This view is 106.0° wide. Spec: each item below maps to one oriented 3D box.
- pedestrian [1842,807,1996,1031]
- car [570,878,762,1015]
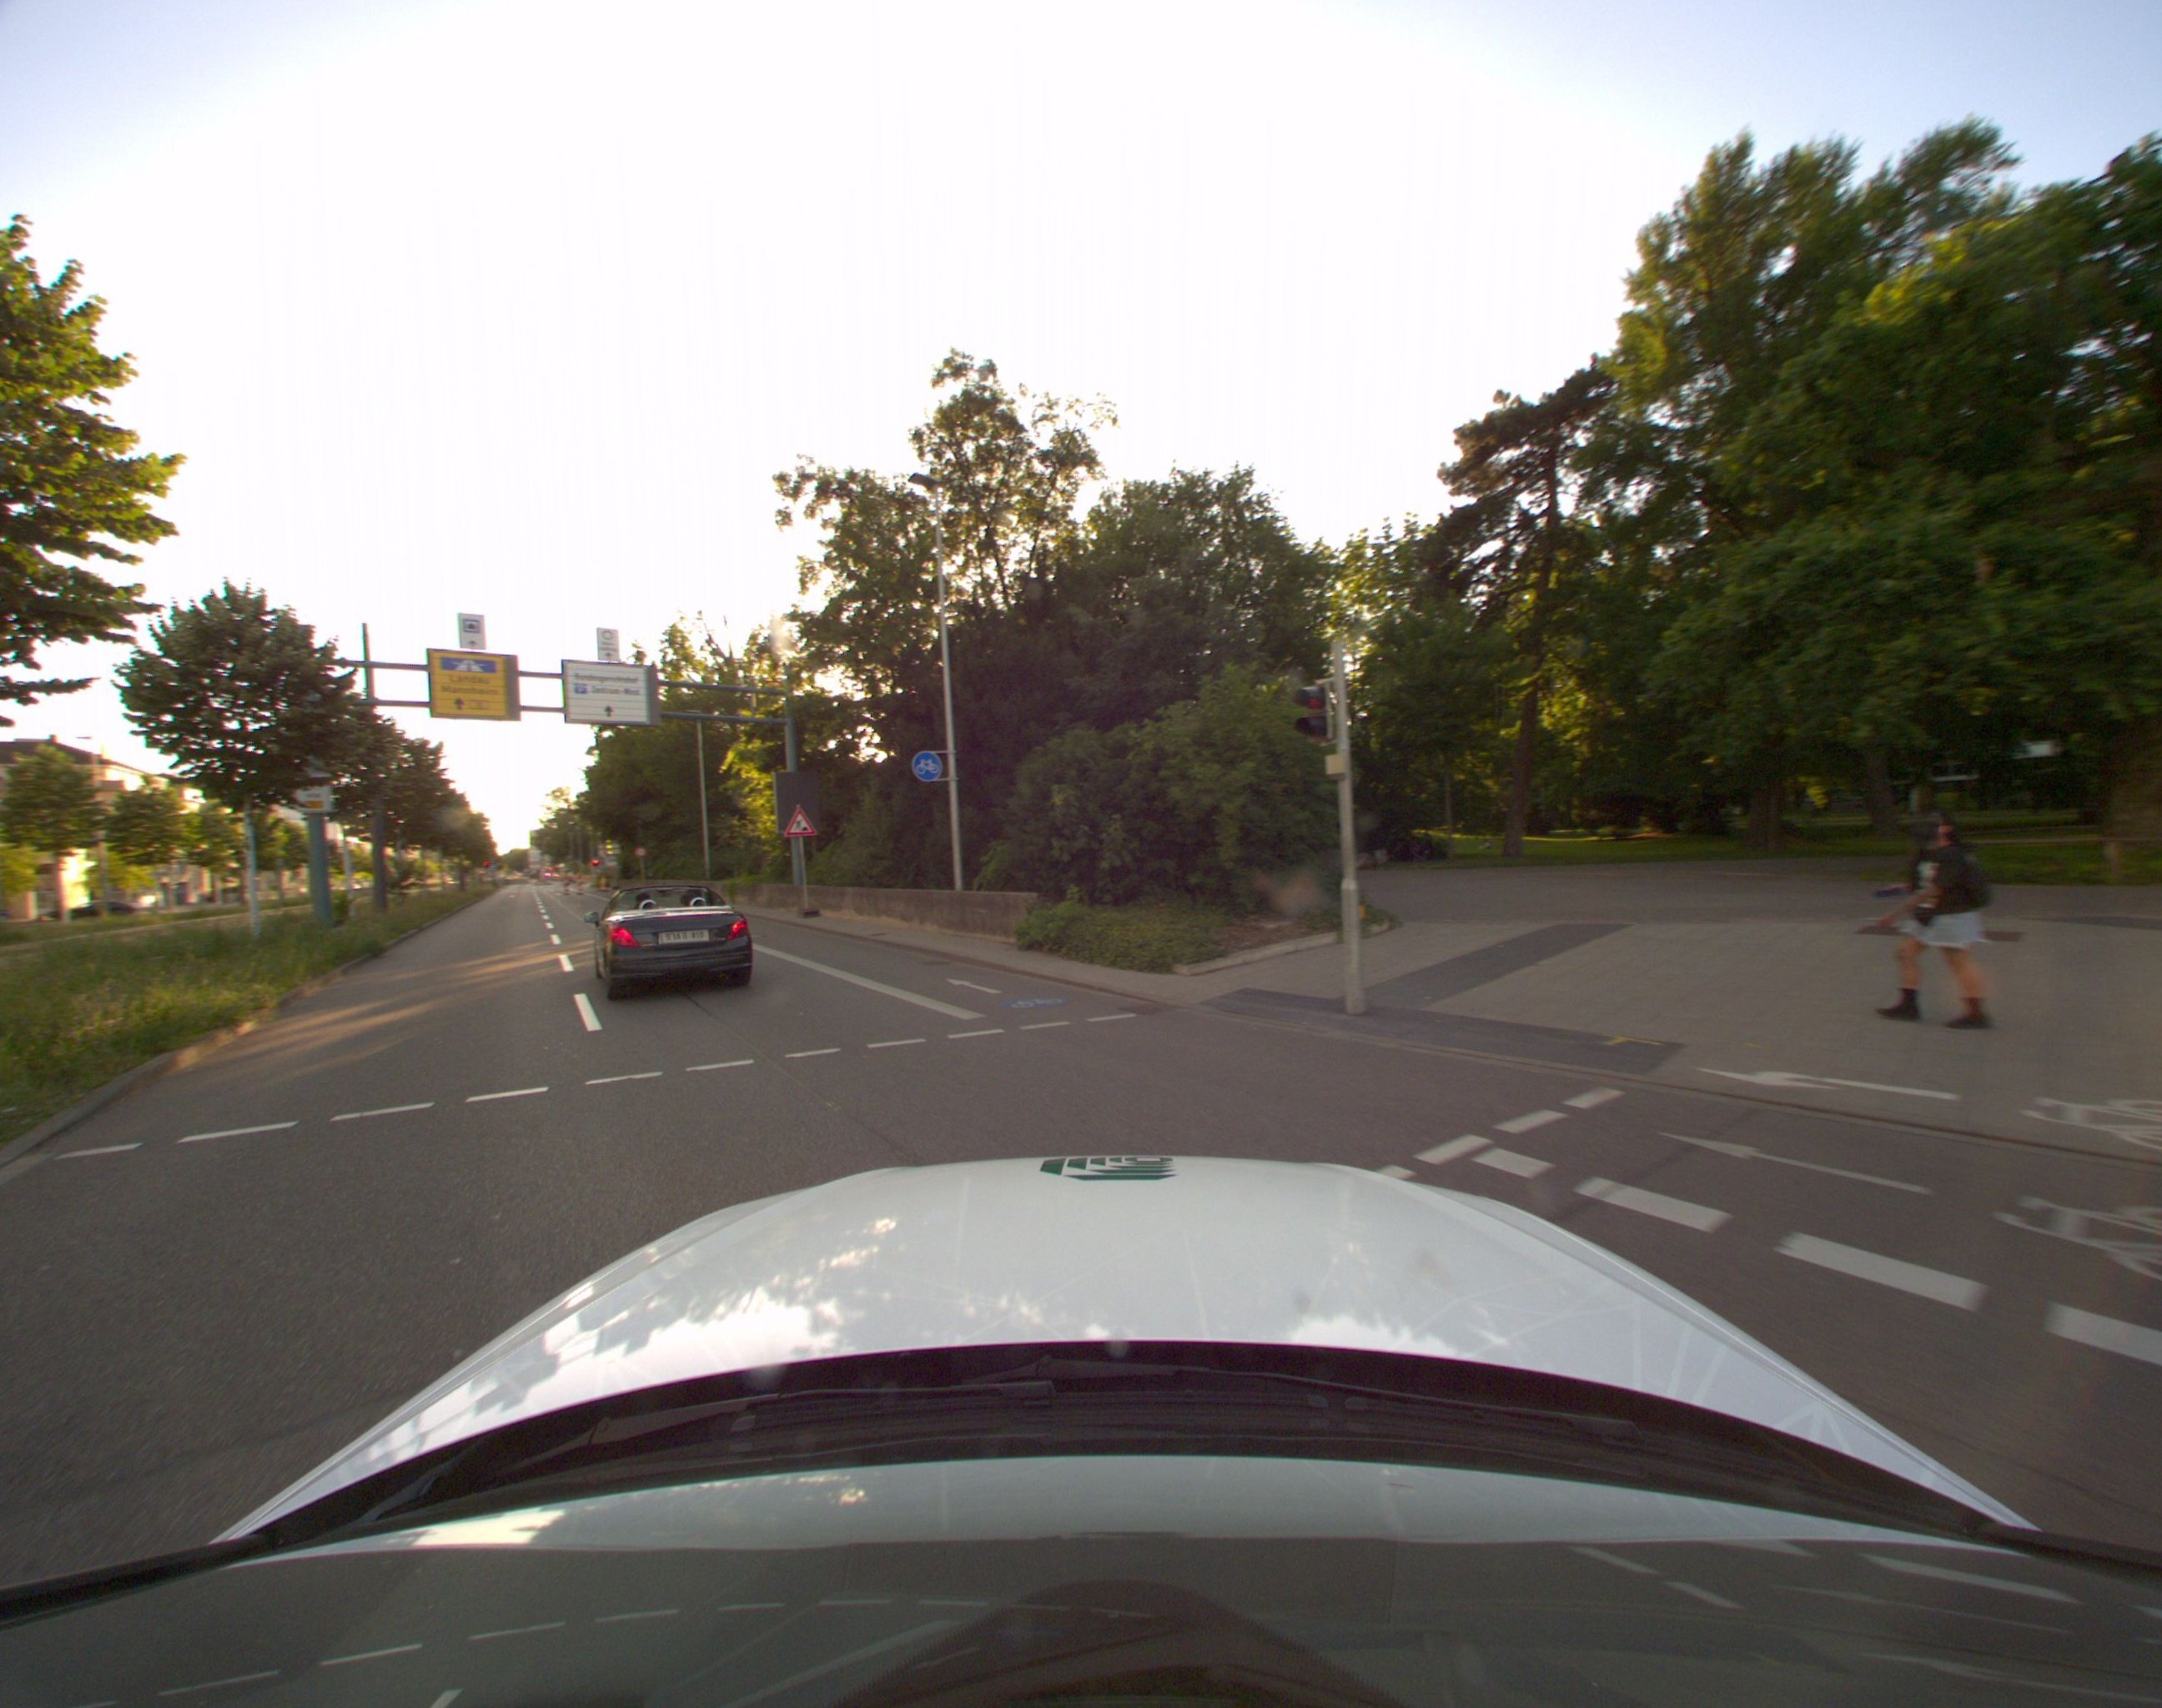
[{"bbox_3d":[6.111,0.440,5.951,0.582,1.503,0.613,-5,1,-30],"label":"pedestrian"},{"bbox_3d":[-5.939,1.126,11.418,1.732,1.449,3.858,-4,1,-36],"label":"car"}]
